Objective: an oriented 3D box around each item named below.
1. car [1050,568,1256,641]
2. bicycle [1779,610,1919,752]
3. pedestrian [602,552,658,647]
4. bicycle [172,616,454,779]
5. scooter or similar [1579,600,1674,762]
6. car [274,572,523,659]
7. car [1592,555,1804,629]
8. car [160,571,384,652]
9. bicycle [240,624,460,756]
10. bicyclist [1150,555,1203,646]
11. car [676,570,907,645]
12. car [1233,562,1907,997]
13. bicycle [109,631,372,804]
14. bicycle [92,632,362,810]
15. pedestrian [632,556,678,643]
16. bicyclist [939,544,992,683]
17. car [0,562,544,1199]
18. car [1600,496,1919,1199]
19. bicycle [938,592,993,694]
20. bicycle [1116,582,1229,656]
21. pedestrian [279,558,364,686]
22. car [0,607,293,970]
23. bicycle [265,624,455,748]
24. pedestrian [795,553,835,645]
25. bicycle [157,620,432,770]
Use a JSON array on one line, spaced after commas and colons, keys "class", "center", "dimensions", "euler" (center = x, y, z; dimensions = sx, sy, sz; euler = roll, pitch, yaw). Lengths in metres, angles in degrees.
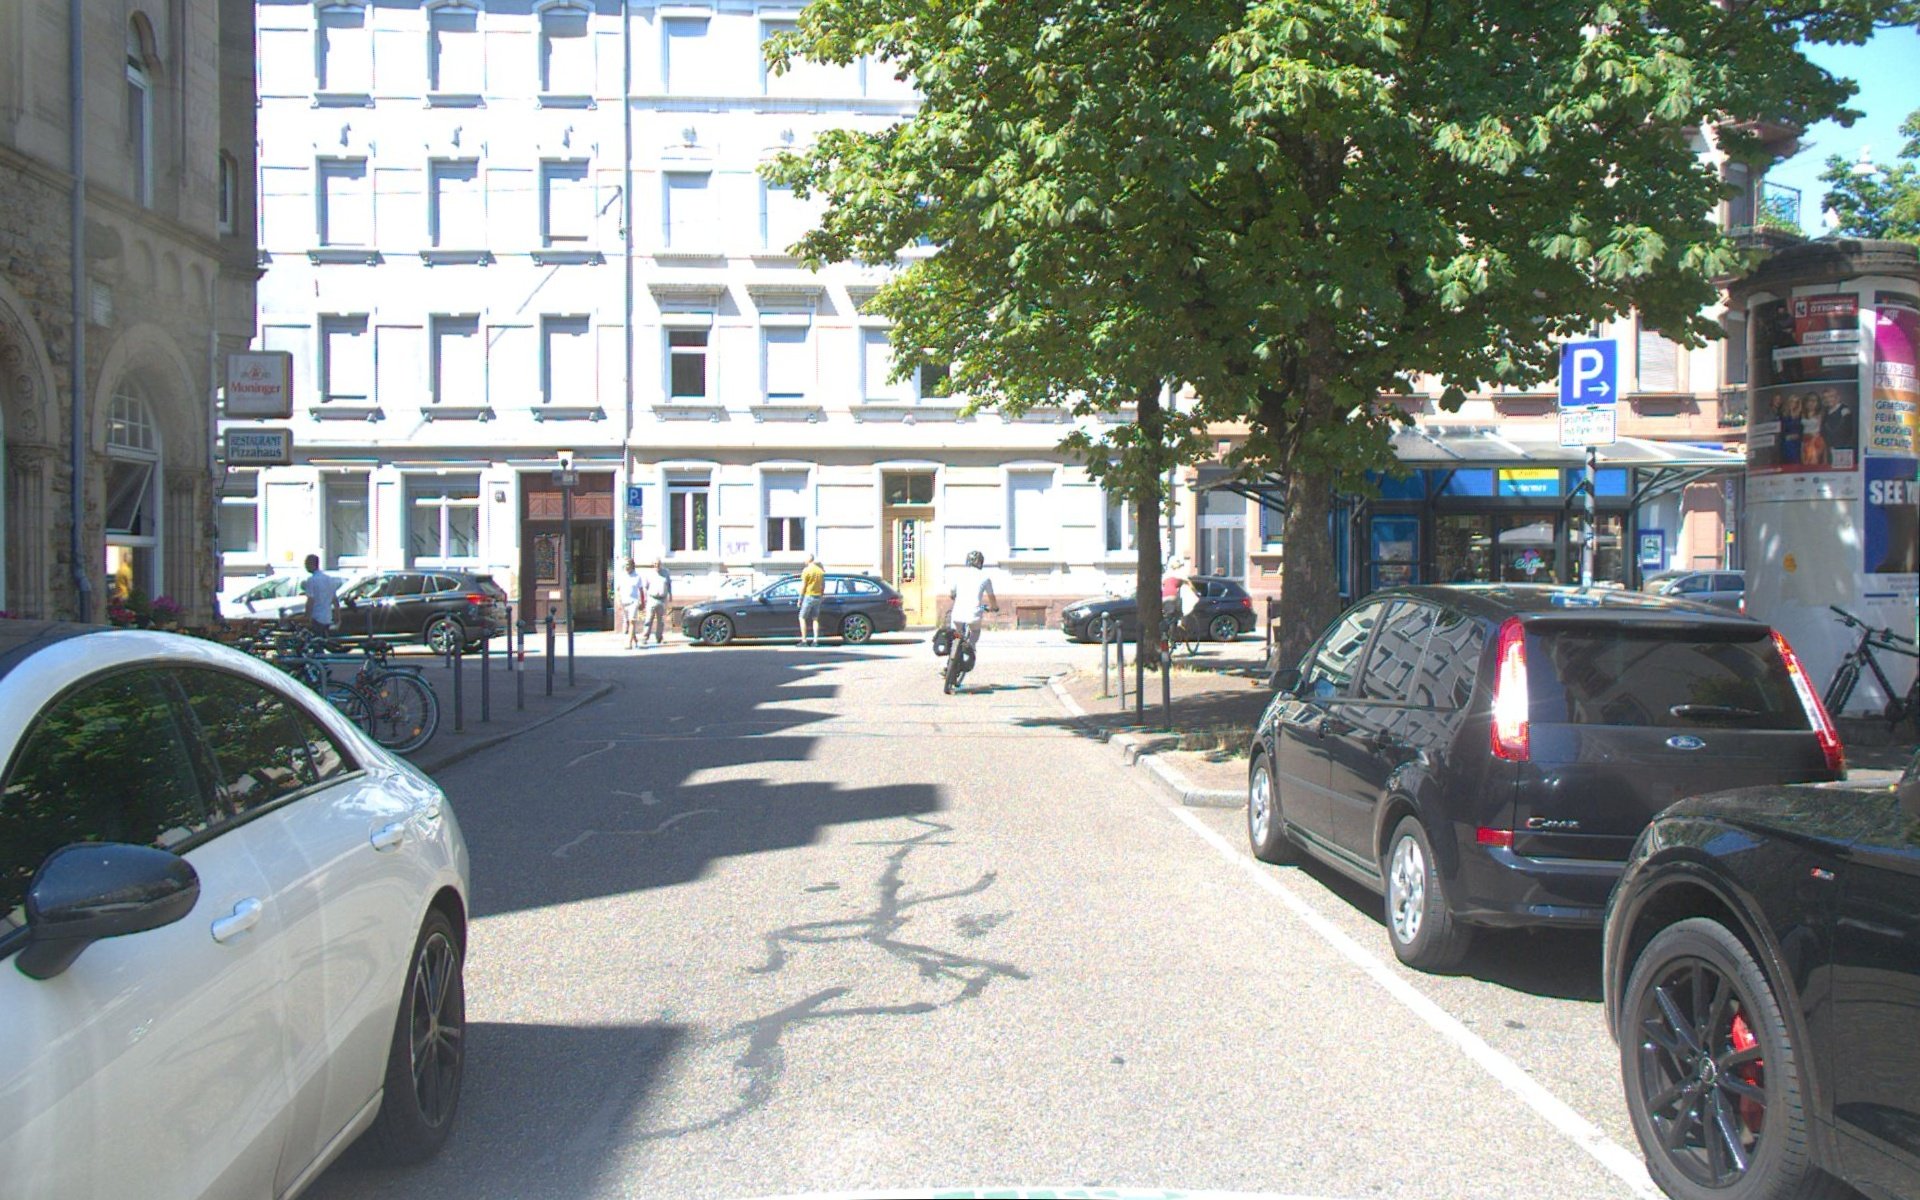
[{"class": "car", "center": [4.148, 0.070, 35.977], "dimensions": [4.208, 1.394, 1.807], "euler": [-1, 3, -3]}, {"class": "bicycle", "center": [7.590, 0.617, 13.136], "dimensions": [1.862, 1.057, 0.634], "euler": [-1, 1, -2]}, {"class": "pedestrian", "center": [-6.836, -0.018, 34.294], "dimensions": [0.832, 1.922, 0.936], "euler": [-1, 1, 8]}, {"class": "bicycle", "center": [-4.946, 0.746, 12.714], "dimensions": [1.934, 1.149, 0.394], "euler": [3, 0, -7]}, {"class": "scooter or similar", "center": [5.120, 0.593, 12.680], "dimensions": [0.434, 1.156, 1.181], "euler": [-1, 1, 34]}, {"class": "car", "center": [-10.710, 0.271, 31.776], "dimensions": [4.139, 1.545, 1.806], "euler": [-1, 1, -3]}, {"class": "car", "center": [16.300, -0.189, 36.650], "dimensions": [3.907, 1.532, 1.777], "euler": [-1, 1, -3]}, {"class": "car", "center": [-14.566, 0.224, 35.189], "dimensions": [3.967, 1.589, 1.806], "euler": [-1, 1, -4]}, {"class": "bicycle", "center": [-5.172, 0.763, 14.074], "dimensions": [1.672, 1.063, 0.413], "euler": [2, 0, -7]}, {"class": "bicyclist", "center": [3.787, 0.010, 28.934], "dimensions": [0.661, 1.559, 0.605], "euler": [-1, 1, 44]}, {"class": "car", "center": [-3.534, 0.134, 35.459], "dimensions": [4.762, 1.462, 1.999], "euler": [-1, 1, -3]}, {"class": "car", "center": [2.596, 0.634, 8.176], "dimensions": [1.629, 1.567, 4.176], "euler": [2, 1, -2]}, {"class": "bicycle", "center": [-5.189, 0.841, 11.969], "dimensions": [1.670, 1.119, 0.292], "euler": [-3, 1, -7]}, {"class": "bicycle", "center": [-5.149, 0.839, 11.659], "dimensions": [1.670, 1.119, 0.292], "euler": [-3, 1, -7]}, {"class": "pedestrian", "center": [-6.569, -0.020, 35.641], "dimensions": [0.884, 1.845, 0.959], "euler": [-1, 1, -7]}, {"class": "bicyclist", "center": [0.066, 0.175, 21.747], "dimensions": [0.657, 1.791, 0.609], "euler": [1, 0, -1]}, {"class": "car", "center": [-2.125, 0.727, 2.875], "dimensions": [1.805, 1.486, 4.360], "euler": [-3, 1, -2]}, {"class": "car", "center": [2.853, 0.636, 2.626], "dimensions": [1.701, 1.624, 4.344], "euler": [1, 1, -4]}, {"class": "bicycle", "center": [0.054, 0.540, 22.087], "dimensions": [0.638, 1.250, 2.441], "euler": [1, 1, -2]}, {"class": "bicycle", "center": [3.726, 0.320, 28.845], "dimensions": [0.643, 1.230, 2.425], "euler": [1, 1, 43]}, {"class": "pedestrian", "center": [-8.720, 0.291, 22.631], "dimensions": [0.840, 1.701, 0.774], "euler": [-1, 1, -2]}, {"class": "car", "center": [-4.764, 0.802, 7.791], "dimensions": [1.668, 1.376, 4.511], "euler": [-3, 1, -5]}, {"class": "bicycle", "center": [-5.249, 0.750, 14.517], "dimensions": [1.496, 1.025, 0.366], "euler": [2, 0, -7]}, {"class": "pedestrian", "center": [-2.998, -0.027, 34.186], "dimensions": [0.712, 1.885, 0.683], "euler": [-1, 1, -12]}, {"class": "bicycle", "center": [-5.258, 0.751, 13.132], "dimensions": [1.957, 1.149, 0.435], "euler": [1, 0, -7]}]
